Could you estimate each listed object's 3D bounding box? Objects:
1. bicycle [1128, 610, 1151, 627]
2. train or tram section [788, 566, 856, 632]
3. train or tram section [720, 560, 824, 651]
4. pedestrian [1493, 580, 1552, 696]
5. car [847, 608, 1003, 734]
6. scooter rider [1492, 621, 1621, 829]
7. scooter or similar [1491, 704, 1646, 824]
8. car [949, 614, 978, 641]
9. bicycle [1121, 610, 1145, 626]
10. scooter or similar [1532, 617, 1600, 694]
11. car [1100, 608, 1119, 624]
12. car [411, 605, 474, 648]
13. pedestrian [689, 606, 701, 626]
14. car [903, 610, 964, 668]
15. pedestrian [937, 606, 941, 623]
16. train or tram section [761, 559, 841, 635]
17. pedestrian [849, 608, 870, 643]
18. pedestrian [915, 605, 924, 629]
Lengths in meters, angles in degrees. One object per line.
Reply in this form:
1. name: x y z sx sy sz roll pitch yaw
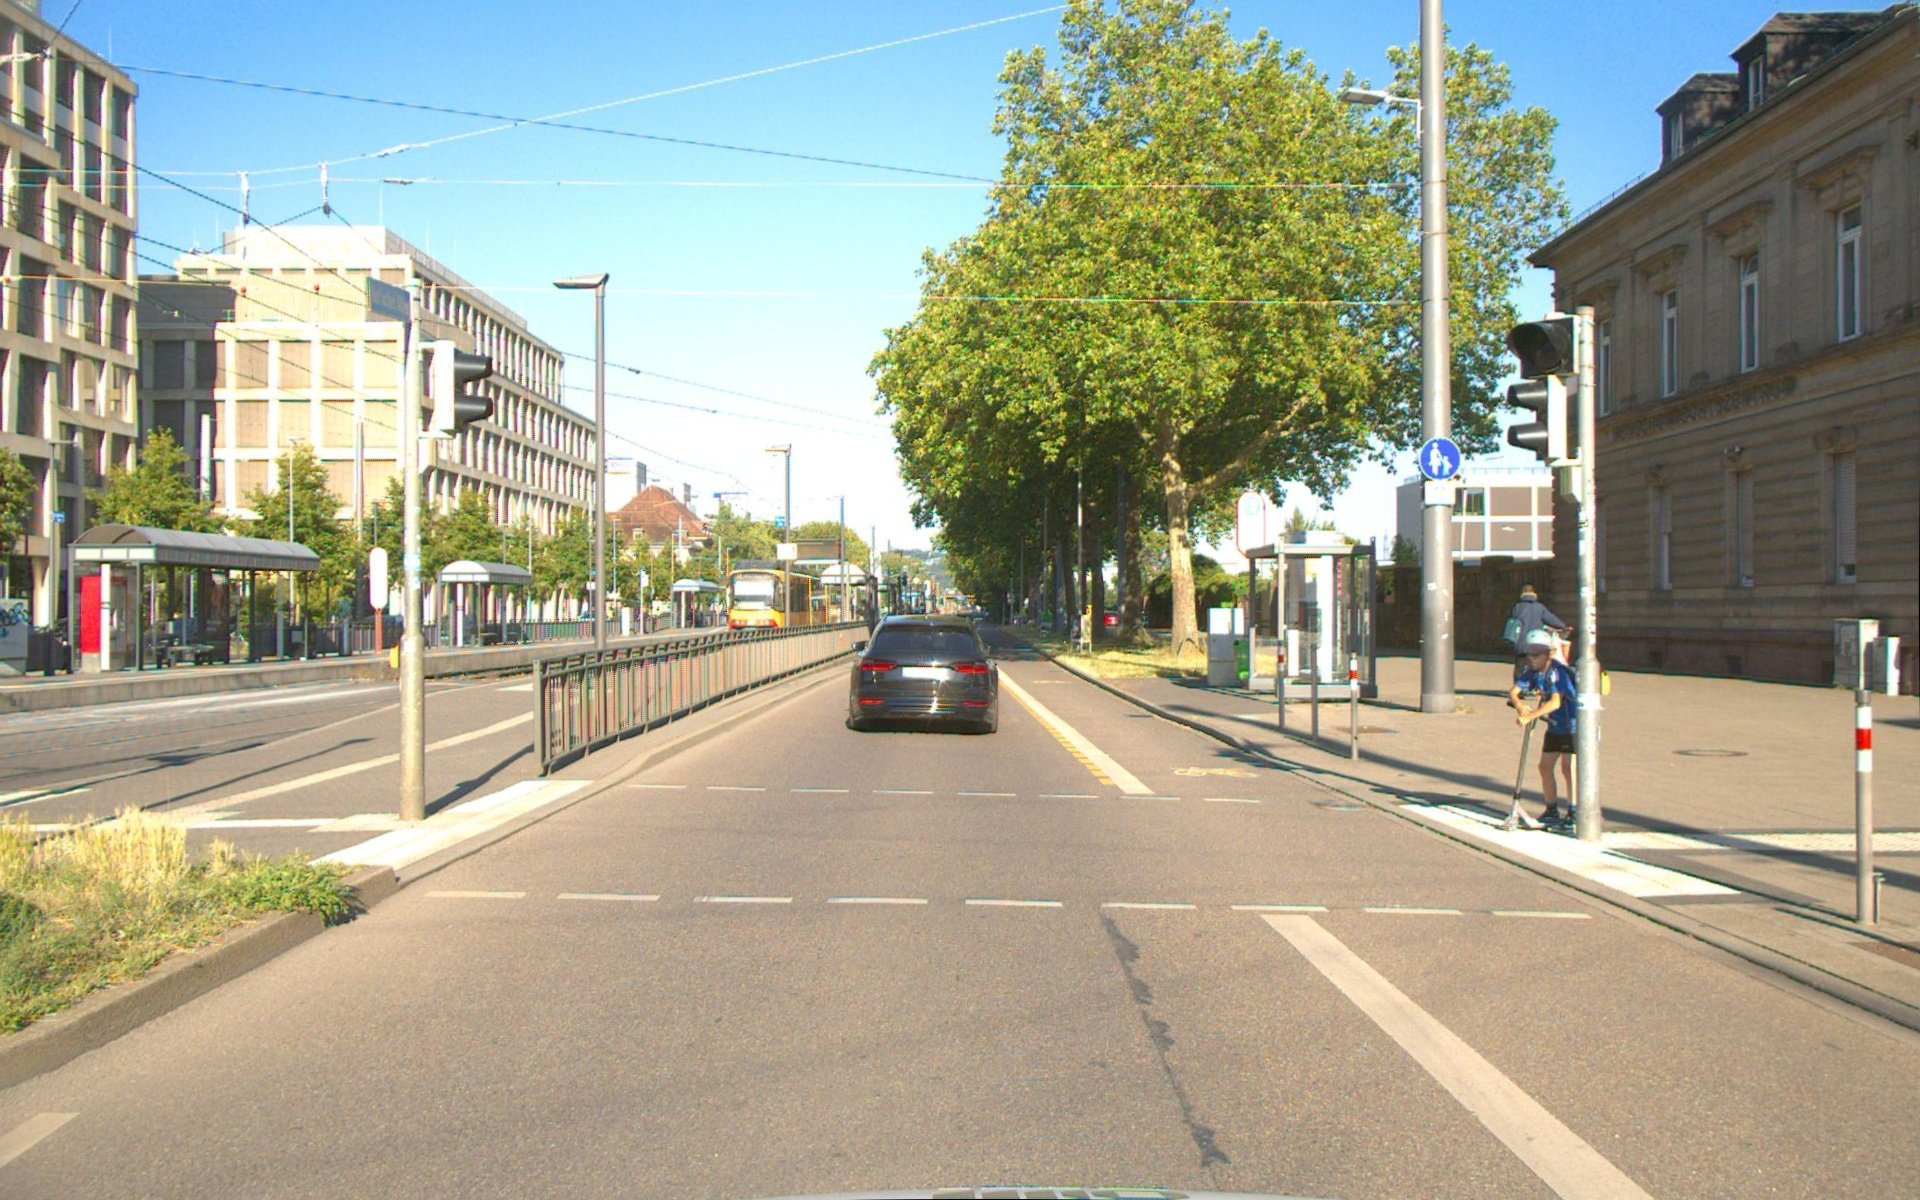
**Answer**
1. bicycle: 13.101 1.347 120.766 1.653 1.140 0.439 -2 -1 -1
2. train or tram section: -8.501 -0.026 103.233 3.241 3.896 11.842 0 -1 0
3. train or tram section: -8.666 0.287 78.226 3.241 3.896 14.218 0 -1 0
4. pedestrian: 8.807 0.588 25.878 0.754 1.775 0.796 -2 -1 24
5. car: -0.468 0.844 21.216 1.840 1.482 3.355 0 0 -2
6. scooter rider: 4.200 0.866 11.681 0.687 1.421 0.600 0 -1 0
7. scooter or similar: 4.323 1.161 11.766 1.000 0.825 0.265 0 -1 0
8. car: 0.189 1.757 106.333 1.727 1.647 3.998 0 0 -2
9. bicycle: 13.302 1.384 127.047 1.737 1.140 0.439 -2 -1 -1
10. scooter or similar: 9.510 0.861 25.984 0.704 1.176 0.759 -2 -1 -6
11. car: 15.395 1.643 170.309 1.581 1.542 3.803 0 -1 1
12. car: -25.817 1.297 82.629 1.953 2.049 3.998 0 0 -2
13. pedestrian: -17.115 1.049 106.797 0.601 1.282 0.725 0 -1 4
14. car: -0.824 1.128 49.348 1.727 1.647 3.998 0 0 -2
15. pedestrian: -2.163 1.491 167.429 0.403 1.747 0.665 0 -1 0
16. train or tram section: -8.628 -0.101 91.356 3.241 3.896 11.842 0 -1 0
17. pedestrian: -3.774 0.944 62.125 0.726 1.296 0.524 0 -1 0
18. pedestrian: -2.915 1.237 118.017 0.599 1.698 0.613 0 -1 2
